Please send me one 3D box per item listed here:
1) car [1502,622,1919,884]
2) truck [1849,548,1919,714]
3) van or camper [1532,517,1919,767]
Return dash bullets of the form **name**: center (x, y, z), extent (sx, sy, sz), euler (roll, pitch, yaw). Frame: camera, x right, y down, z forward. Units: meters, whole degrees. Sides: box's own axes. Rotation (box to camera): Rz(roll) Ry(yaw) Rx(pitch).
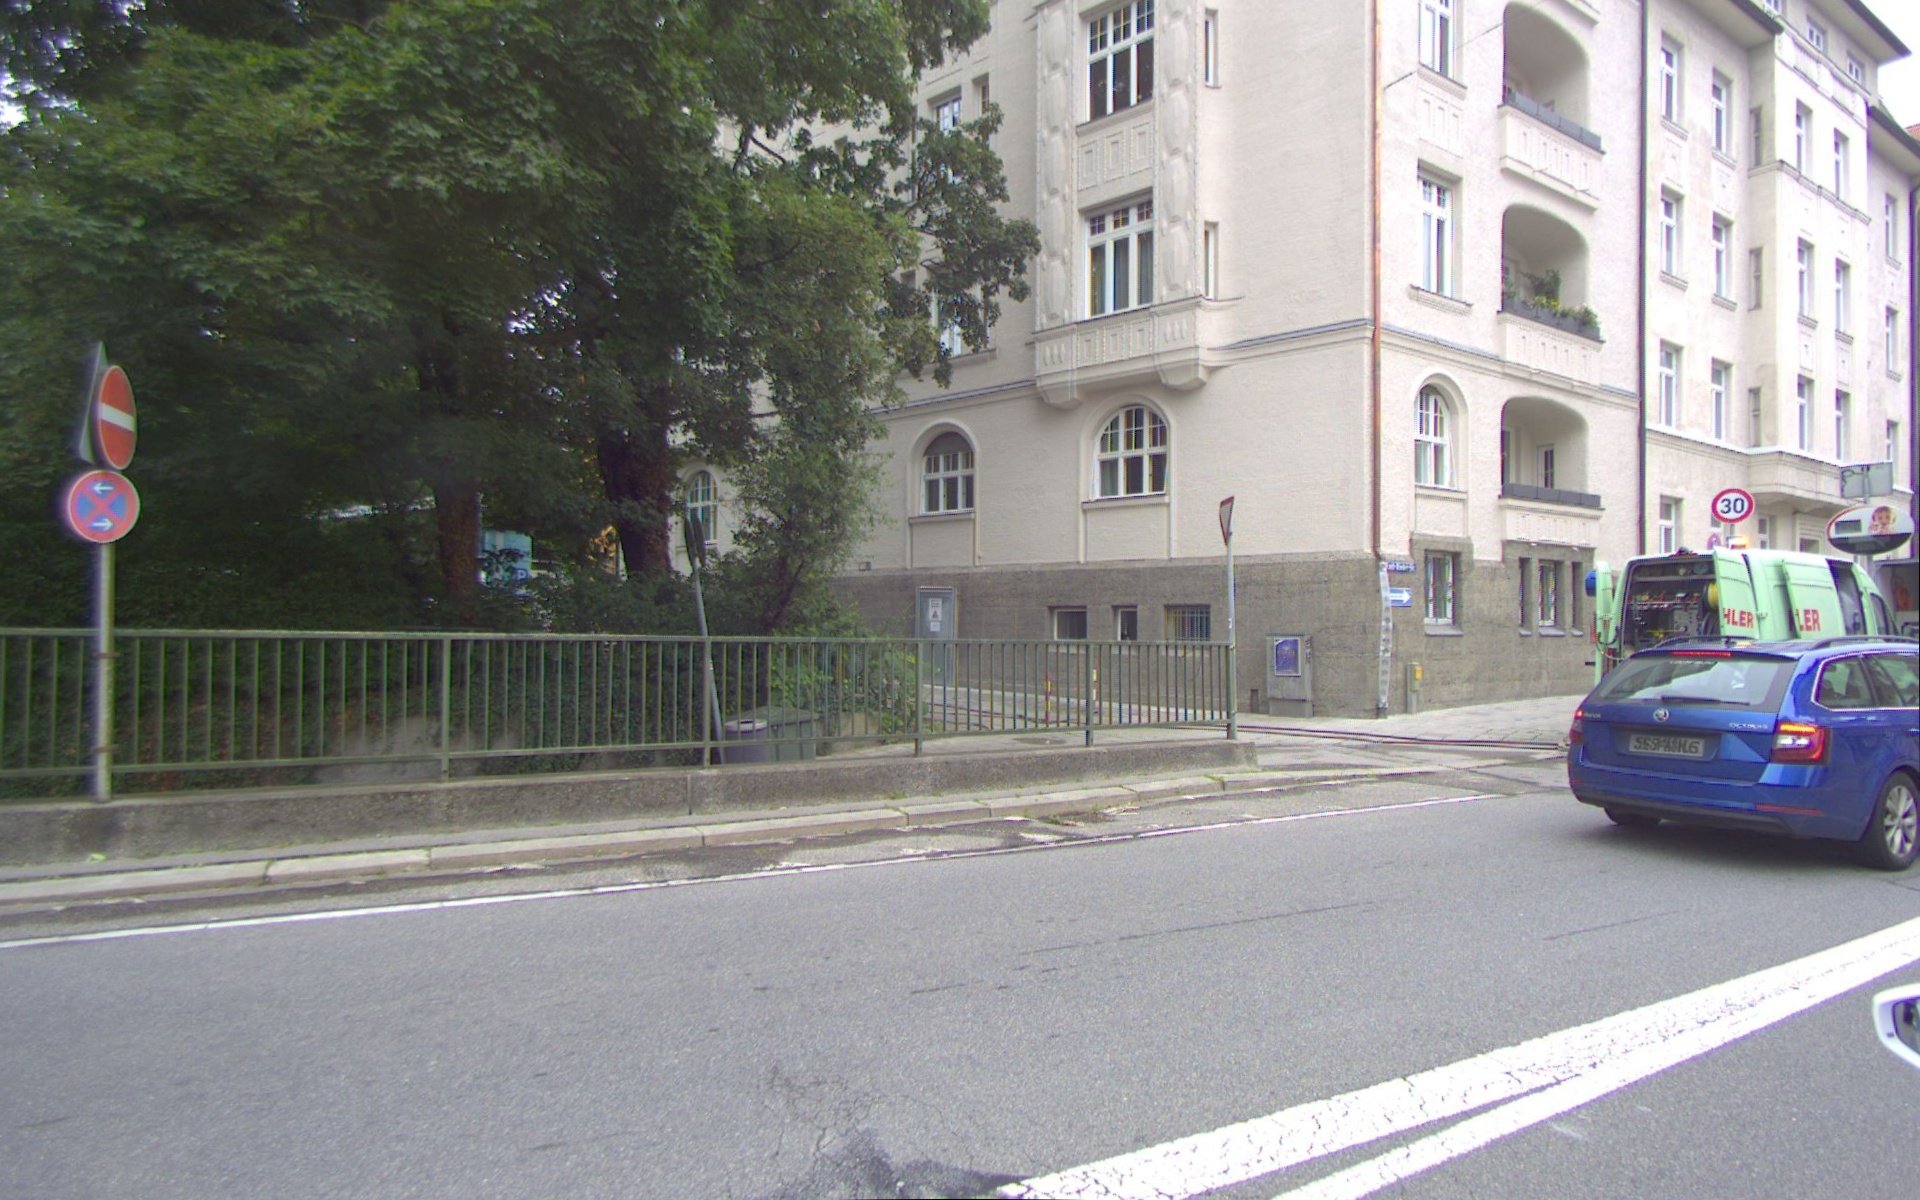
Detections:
- **car**: center (6.561, 0.957, 7.554), extent (4.669, 1.473, 1.982), euler (2, -2, -24)
- **truck**: center (20.014, 0.555, 19.193), extent (7.124, 2.911, 2.757), euler (0, -1, -33)
- **van or camper**: center (11.114, 0.513, 14.287), extent (6.116, 2.878, 2.587), euler (0, -1, -32)
